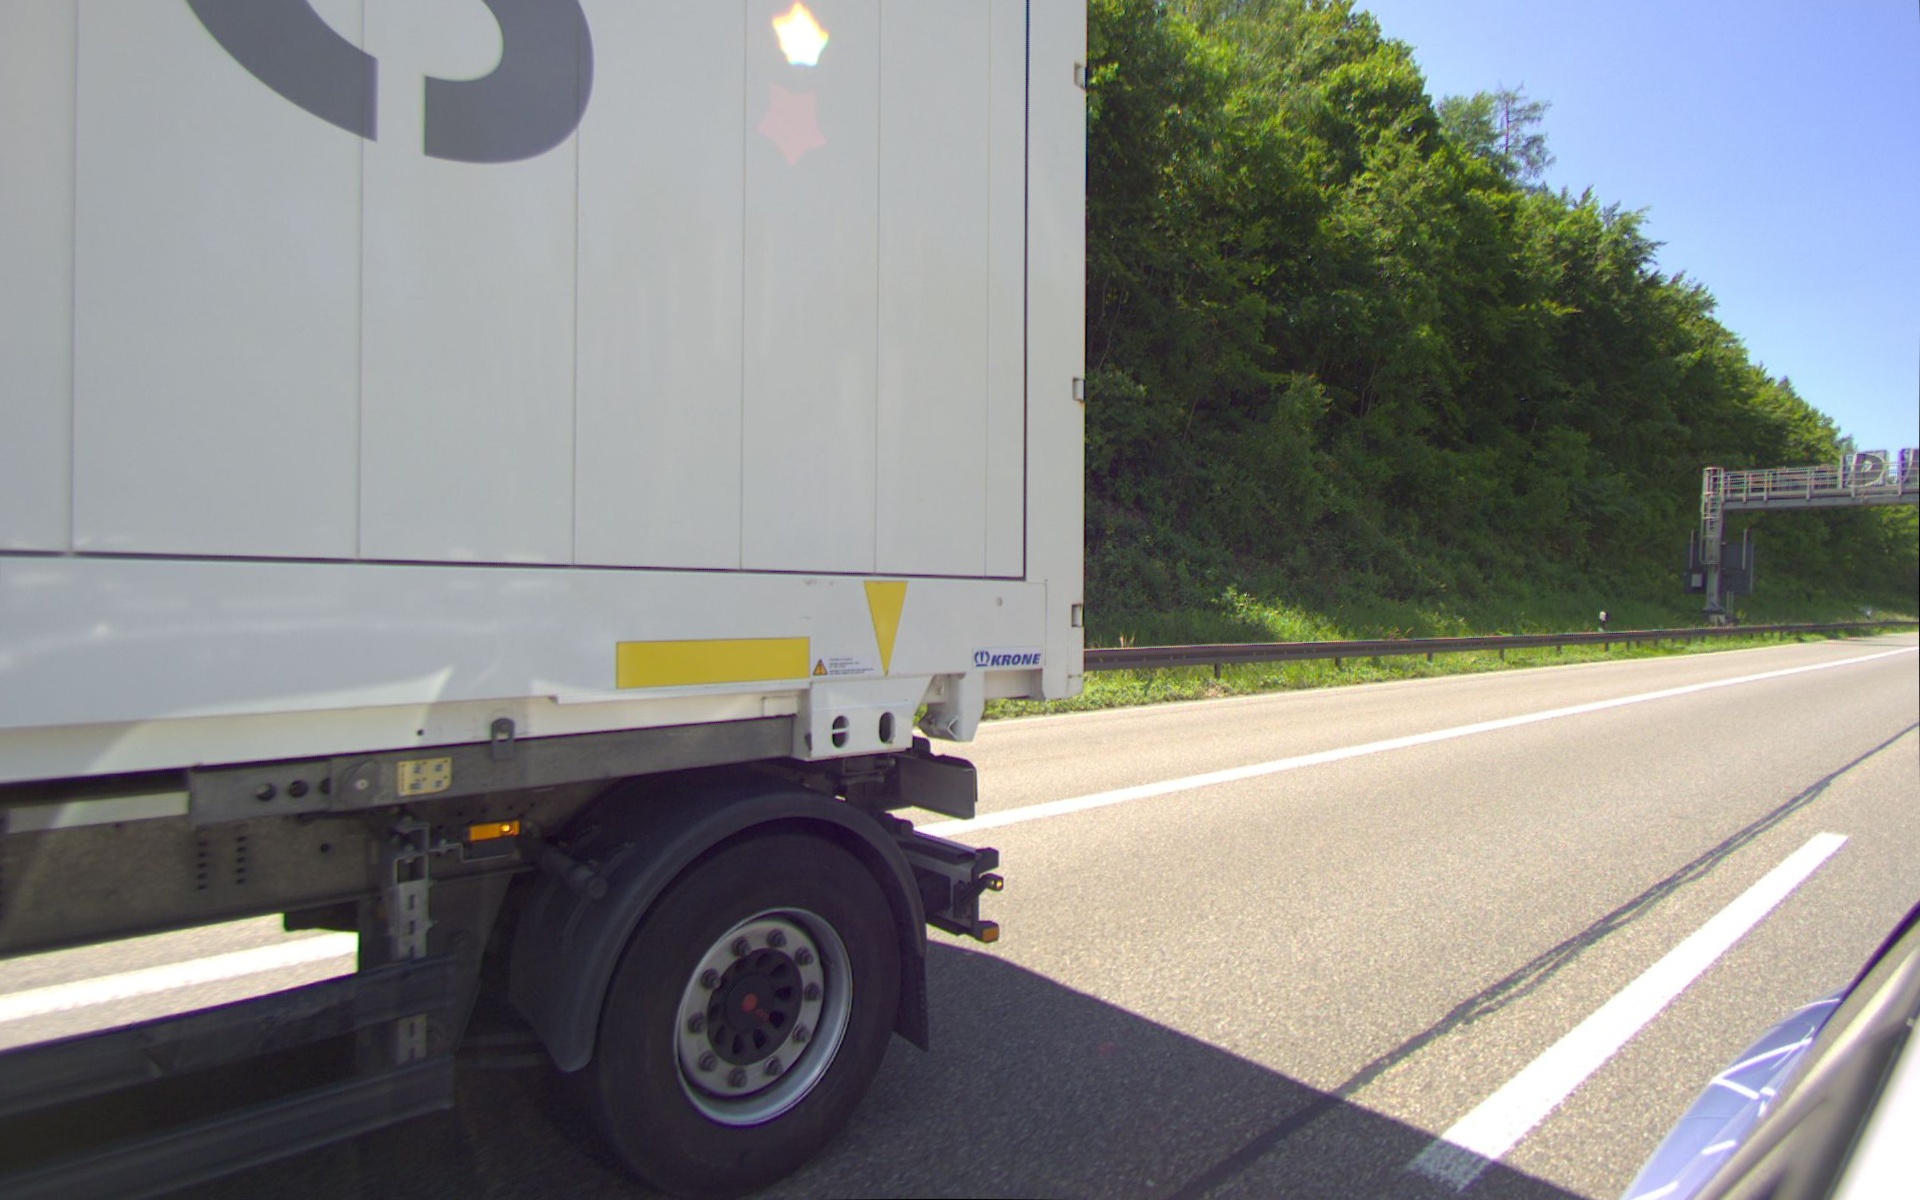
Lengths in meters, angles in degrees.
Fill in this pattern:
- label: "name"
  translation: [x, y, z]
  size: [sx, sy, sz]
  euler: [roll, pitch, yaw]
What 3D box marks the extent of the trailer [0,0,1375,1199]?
- label: "trailer"
  translation: [-2.827, -0.727, 2.043]
  size: [9.889, 4.229, 2.684]
  euler: [1, 0, -41]
